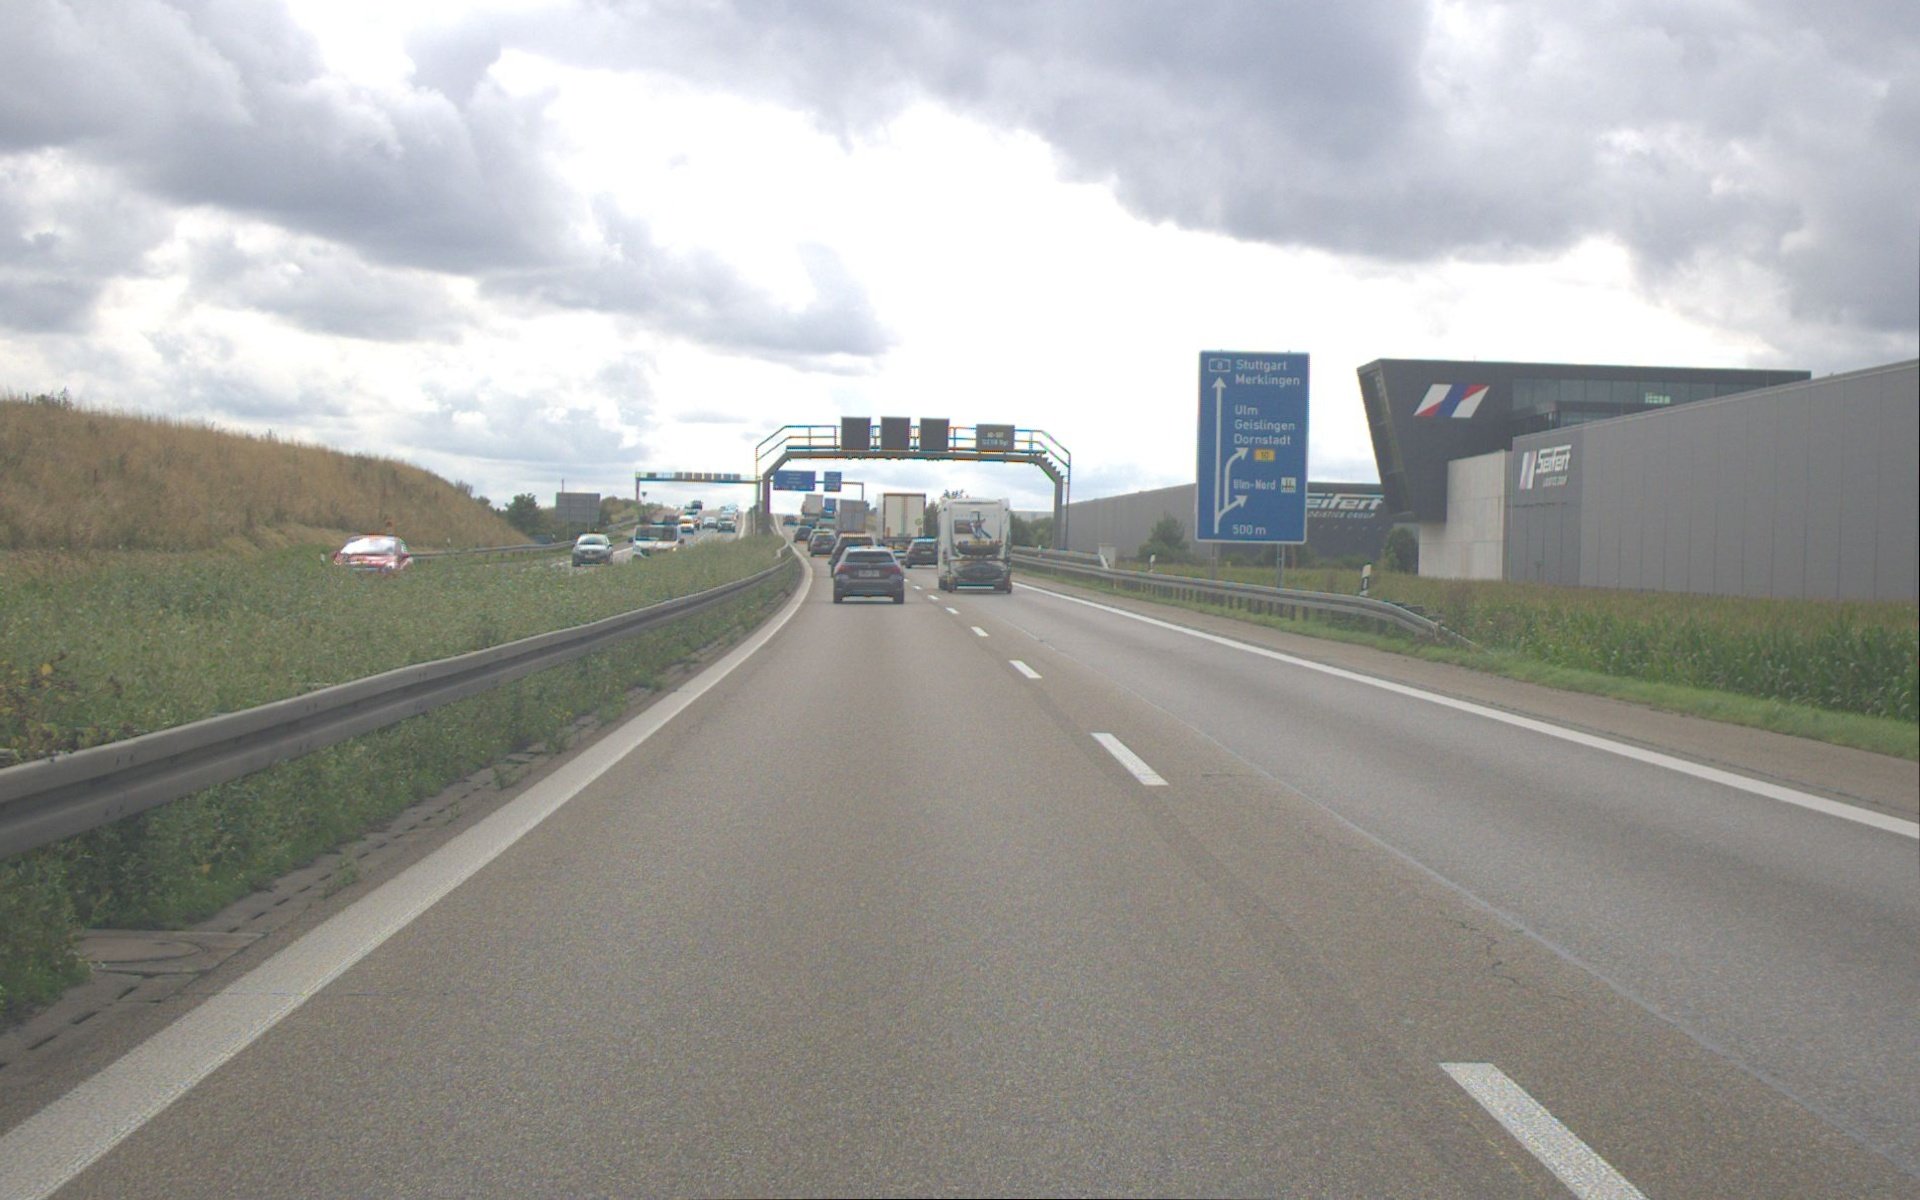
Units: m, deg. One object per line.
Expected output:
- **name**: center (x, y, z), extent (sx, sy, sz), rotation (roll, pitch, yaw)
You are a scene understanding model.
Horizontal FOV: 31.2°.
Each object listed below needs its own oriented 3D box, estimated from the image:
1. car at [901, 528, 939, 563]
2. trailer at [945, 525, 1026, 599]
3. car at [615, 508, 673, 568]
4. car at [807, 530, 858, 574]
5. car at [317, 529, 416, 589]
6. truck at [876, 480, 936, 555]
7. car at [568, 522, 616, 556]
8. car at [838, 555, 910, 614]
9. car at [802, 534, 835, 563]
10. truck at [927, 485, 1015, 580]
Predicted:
- **car**: center (-1.954, -2.687, 169.052), extent (1.801, 1.679, 4.000), rotation (1, 1, -1)
- **trailer**: center (0.741, -1.157, 104.356), extent (2.338, 2.129, 4.000), rotation (1, 1, -1)
- **car**: center (-12.924, -2.518, 140.913), extent (1.993, 2.340, 5.872), rotation (1, 1, -2)
- **car**: center (-5.129, -1.939, 138.859), extent (1.945, 1.679, 4.000), rotation (1, 1, -1)
- **car**: center (-14.482, -1.008, 84.048), extent (1.724, 1.399, 4.342), rotation (1, 1, -1)
- **truck**: center (-3.400, -5.088, 214.071), extent (3.339, 4.518, 8.018), rotation (1, 1, -3)
- **car**: center (-16.468, -2.715, 153.877), extent (1.772, 1.449, 4.000), rotation (1, 1, -1)
- **car**: center (-2.182, -0.418, 88.007), extent (1.746, 1.448, 4.000), rotation (1, 1, 0)
- **car**: center (-8.853, -3.256, 215.893), extent (1.943, 1.769, 3.696), rotation (1, 1, -1)
- **truck**: center (0.319, -2.153, 111.138), extent (2.482, 2.940, 5.815), rotation (1, 1, -3)
